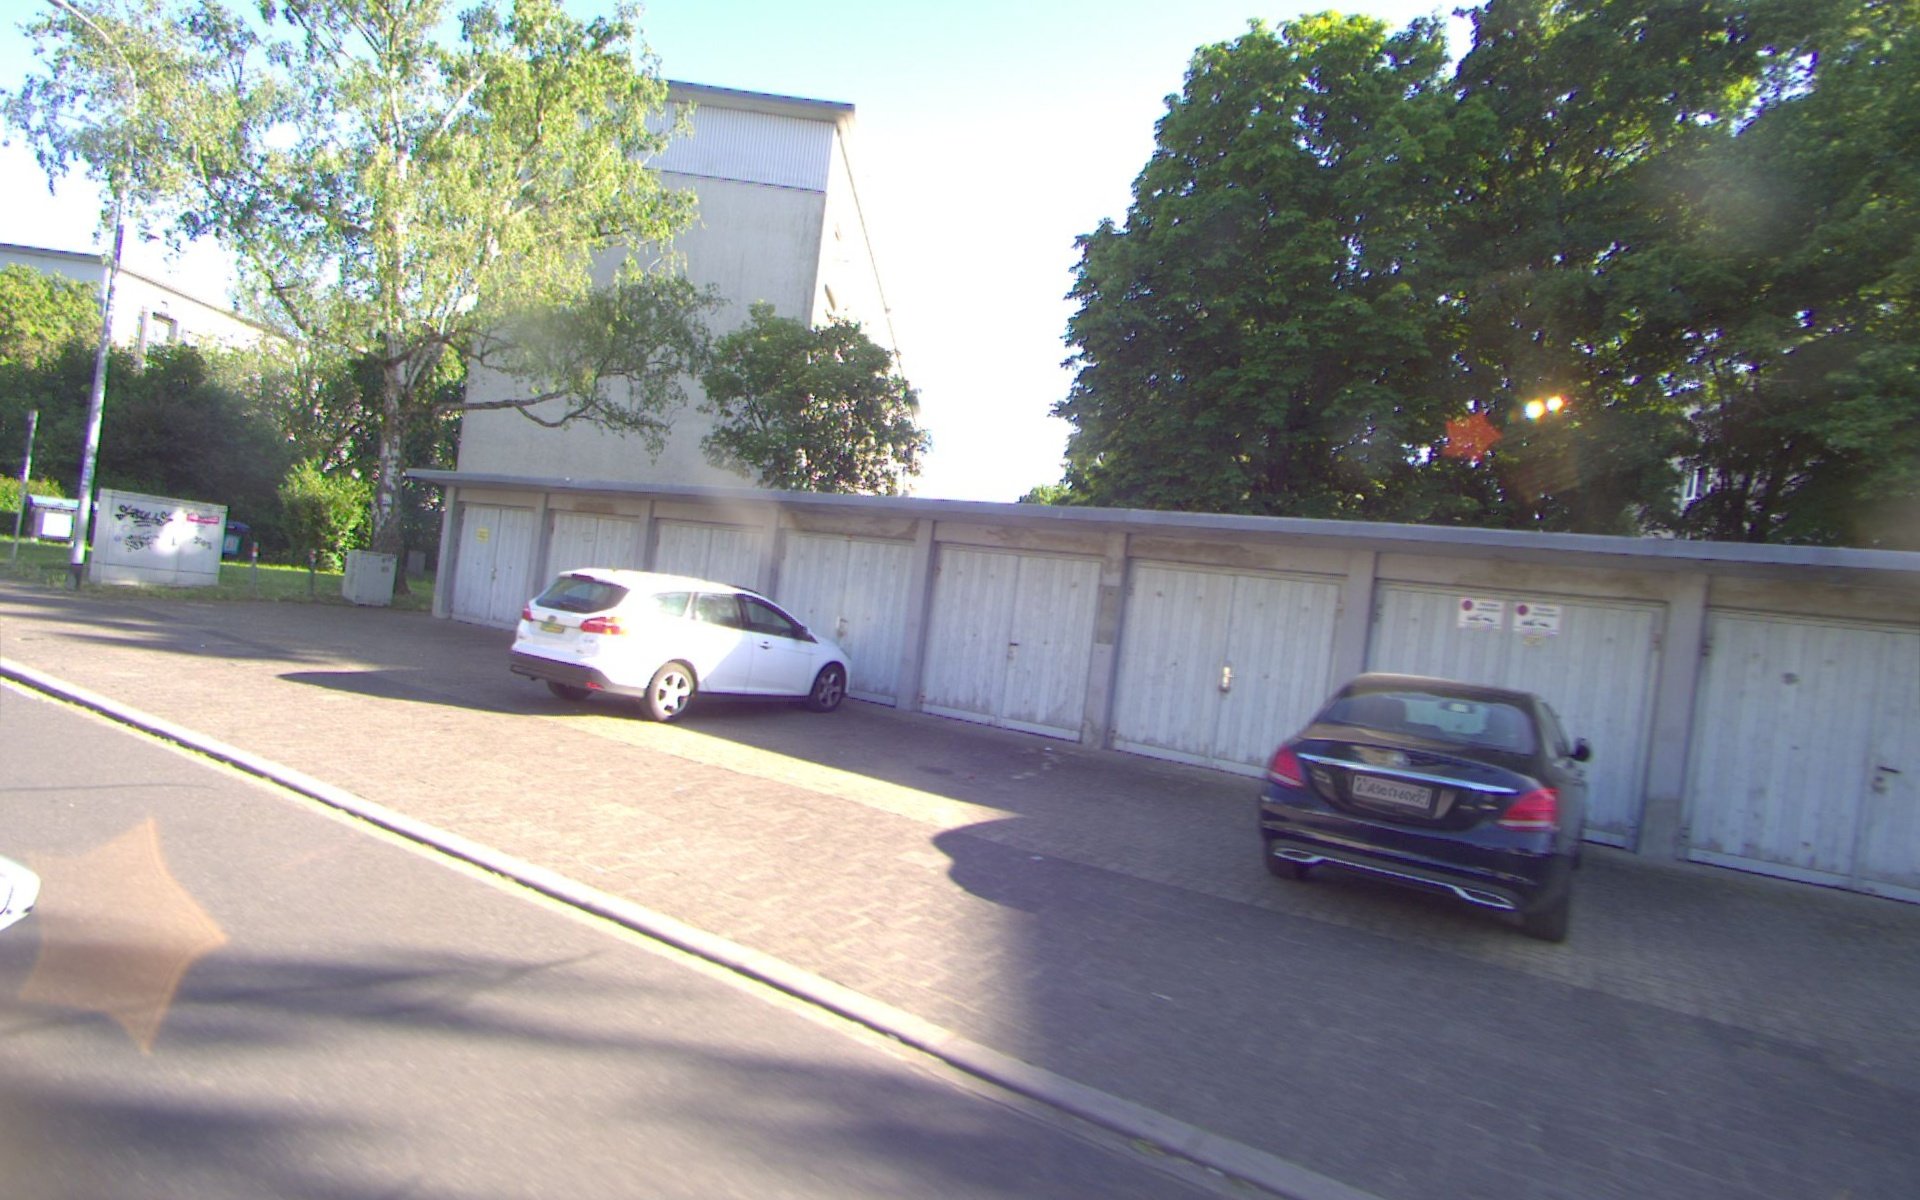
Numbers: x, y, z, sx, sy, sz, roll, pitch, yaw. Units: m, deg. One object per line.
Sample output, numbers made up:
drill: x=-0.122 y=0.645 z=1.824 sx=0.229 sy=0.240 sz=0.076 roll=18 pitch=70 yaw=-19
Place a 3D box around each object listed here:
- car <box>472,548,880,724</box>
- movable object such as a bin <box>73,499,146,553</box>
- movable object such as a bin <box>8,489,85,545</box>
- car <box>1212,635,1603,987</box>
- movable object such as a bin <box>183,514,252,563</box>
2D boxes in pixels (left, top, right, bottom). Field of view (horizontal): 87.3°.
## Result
car: x=-3.045 y=0.466 z=11.760 sx=1.799 sy=1.532 sz=4.419 roll=7 pitch=0 yaw=32
movable object such as a bin: x=-25.756 y=-2.239 z=30.472 sx=1.257 sy=1.369 sz=1.257 roll=7 pitch=-1 yaw=31
movable object such as a bin: x=-26.644 y=-2.409 z=29.343 sx=1.257 sy=1.369 sz=1.257 roll=7 pitch=-1 yaw=31
car: x=3.535 y=1.219 z=7.348 sx=1.799 sy=1.532 sz=4.517 roll=7 pitch=0 yaw=33
movable object such as a bin: x=-24.736 y=-2.038 z=33.528 sx=1.255 sy=1.369 sz=1.259 roll=7 pitch=-1 yaw=21
